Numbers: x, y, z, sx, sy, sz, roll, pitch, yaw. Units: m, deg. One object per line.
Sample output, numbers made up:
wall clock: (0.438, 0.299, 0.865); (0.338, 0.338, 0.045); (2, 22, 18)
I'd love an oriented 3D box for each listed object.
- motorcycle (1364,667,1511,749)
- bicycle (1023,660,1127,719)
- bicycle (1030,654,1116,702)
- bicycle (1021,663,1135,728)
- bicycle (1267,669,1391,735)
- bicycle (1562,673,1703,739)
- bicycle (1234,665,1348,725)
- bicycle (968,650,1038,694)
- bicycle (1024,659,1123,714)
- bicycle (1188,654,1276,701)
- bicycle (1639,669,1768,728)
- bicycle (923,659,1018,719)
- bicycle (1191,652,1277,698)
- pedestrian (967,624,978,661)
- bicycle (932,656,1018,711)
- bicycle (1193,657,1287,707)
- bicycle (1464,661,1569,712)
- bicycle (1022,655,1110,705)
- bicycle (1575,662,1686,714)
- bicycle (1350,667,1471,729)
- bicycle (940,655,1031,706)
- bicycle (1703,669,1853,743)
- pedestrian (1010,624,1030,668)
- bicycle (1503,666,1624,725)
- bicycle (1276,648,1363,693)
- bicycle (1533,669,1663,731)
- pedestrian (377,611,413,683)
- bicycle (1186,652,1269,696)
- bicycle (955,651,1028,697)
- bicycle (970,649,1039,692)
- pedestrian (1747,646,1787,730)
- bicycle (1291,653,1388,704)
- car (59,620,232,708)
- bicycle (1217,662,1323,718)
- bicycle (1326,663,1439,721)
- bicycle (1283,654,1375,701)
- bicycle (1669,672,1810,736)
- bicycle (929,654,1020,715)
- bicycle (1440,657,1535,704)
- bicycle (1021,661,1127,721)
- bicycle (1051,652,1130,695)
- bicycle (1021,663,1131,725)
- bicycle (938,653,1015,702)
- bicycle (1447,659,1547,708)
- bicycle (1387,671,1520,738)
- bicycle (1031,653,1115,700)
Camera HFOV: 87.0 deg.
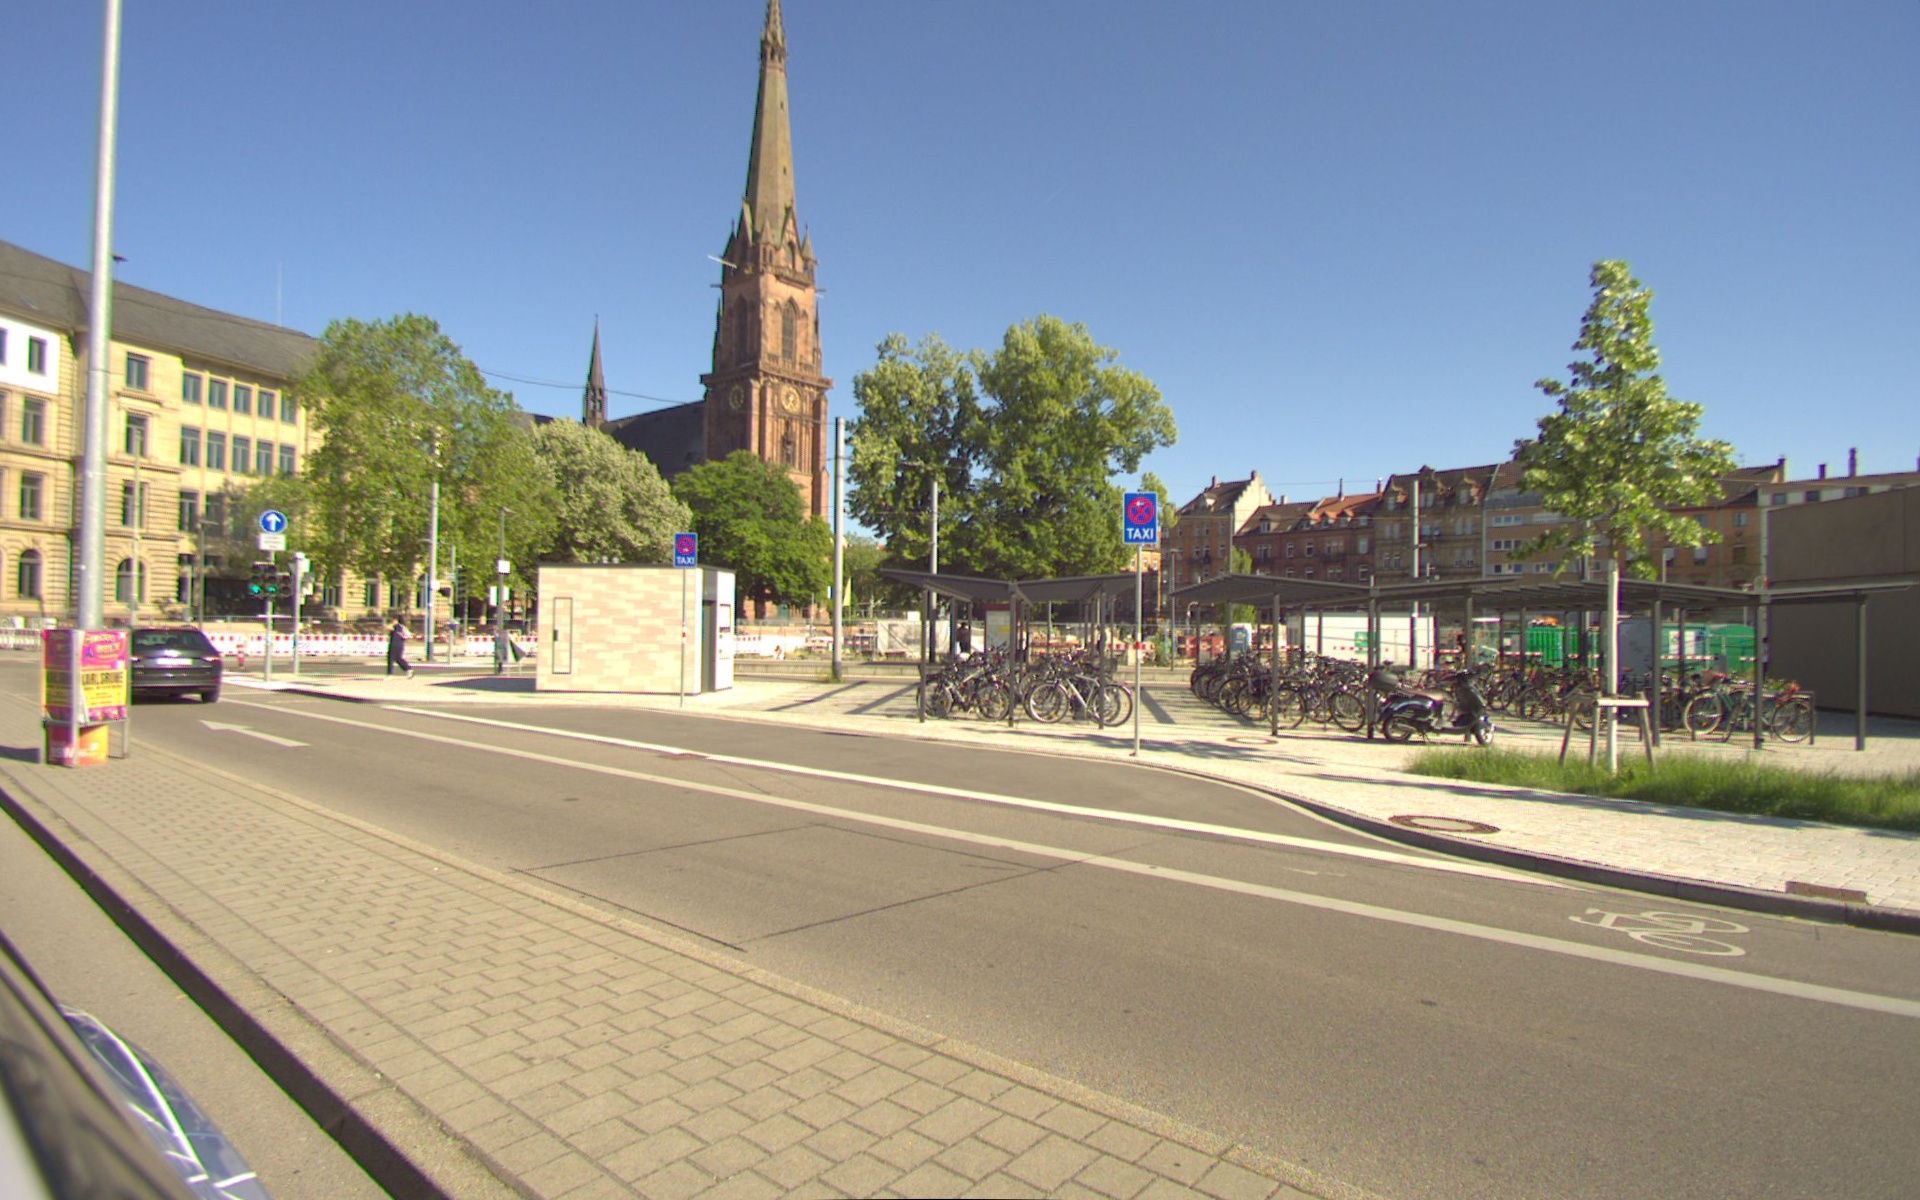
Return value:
motorcycle: (7.158, 1.604, 15.229); (1.924, 1.160, 0.516); (0, -2, 6)
bicycle: (2.133, 1.646, 18.747); (1.882, 1.016, 0.456); (0, -2, 8)
bicycle: (2.507, 1.728, 22.537); (1.882, 1.016, 0.456); (0, -2, 8)
bicycle: (1.986, 1.603, 17.117); (1.882, 1.016, 0.456); (0, -2, 8)
bicycle: (6.117, 1.683, 16.843); (1.882, 1.016, 0.456); (0, -2, 8)
bicycle: (10.969, 1.719, 16.540); (1.882, 1.016, 0.456); (0, -2, 8)
bicycle: (5.896, 1.685, 18.096); (1.882, 1.016, 0.456); (0, -2, 8)
bicycle: (1.038, 1.716, 24.229); (1.652, 1.016, 0.456); (0, -2, 8)
bicycle: (2.193, 1.660, 19.588); (1.882, 1.016, 0.456); (0, -2, 8)
bicycle: (6.145, 1.739, 22.946); (1.882, 1.016, 0.456); (0, -2, 8)
bicycle: (13.465, 1.778, 18.368); (1.882, 1.016, 0.456); (0, -2, 8)
bicycle: (0.197, 1.586, 18.194); (1.652, 1.016, 0.456); (0, -2, 8)
bicycle: (6.362, 1.733, 23.570); (1.882, 1.016, 0.456); (0, -2, 8)
pedestrian: (0.581, 1.995, 47.619); (0.399, 1.734, 0.419); (1, -2, -11)
bicycle: (0.301, 1.631, 19.891); (1.652, 1.016, 0.456); (0, -2, 8)
bicycle: (5.961, 1.748, 21.612); (1.882, 1.016, 0.456); (0, -2, 8)
bicycle: (11.710, 1.816, 21.316); (1.882, 1.016, 0.456); (0, -2, 8)
bicycle: (2.293, 1.723, 21.924); (1.882, 1.016, 0.456); (0, -2, 8)
bicycle: (13.869, 1.820, 20.974); (1.882, 1.016, 0.456); (0, -2, 8)
bicycle: (7.890, 1.710, 17.766); (1.882, 1.016, 0.456); (0, -2, 8)
bicycle: (0.539, 1.676, 21.229); (1.882, 1.016, 0.456); (0, -2, 8)
bicycle: (13.078, 1.687, 16.209); (1.882, 1.106, 0.456); (0, -2, 8)
pedestrian: (2.472, 1.897, 41.704); (0.792, 1.793, 0.977); (0, -2, 3)
bicycle: (11.160, 1.758, 18.761); (1.882, 1.016, 0.456); (0, -2, 8)
bicycle: (8.482, 1.654, 23.913); (1.882, 1.016, 0.456); (0, -2, 8)
bicycle: (11.097, 1.734, 17.645); (1.882, 1.016, 0.456); (0, -2, 8)
pedestrian: (-14.886, 1.221, 26.671); (0.683, 1.868, 0.680); (2, -2, -38)
bicycle: (6.389, 1.764, 24.229); (1.882, 1.016, 0.456); (0, -2, 8)
bicycle: (0.742, 1.711, 23.485); (1.652, 1.016, 0.456); (0, -2, 8)
bicycle: (1.103, 1.730, 24.945); (1.652, 1.016, 0.456); (0, -2, 8)
pedestrian: (19.979, 2.160, 25.057); (0.718, 2.029, 0.678); (-1, -3, 41)
bicycle: (8.053, 1.662, 21.523); (1.882, 1.016, 0.456); (0, -2, 8)
car: (-15.850, 1.179, 19.605); (4.573, 1.511, 1.770); (-1, -4, 41)
bicycle: (5.894, 1.710, 19.326); (1.882, 1.016, 0.456); (0, -2, 8)
bicycle: (7.914, 1.714, 18.999); (1.882, 1.016, 0.456); (0, -2, 8)
bicycle: (8.312, 1.737, 22.821); (1.882, 1.016, 0.456); (0, -2, 8)
bicycle: (13.125, 1.745, 17.069); (1.882, 1.016, 0.456); (0, -2, 8)
bicycle: (0.276, 1.560, 18.780); (1.652, 1.069, 0.456); (0, -2, 8)
bicycle: (12.075, 1.838, 23.198); (1.882, 1.016, 0.456); (0, -2, 8)
bicycle: (2.051, 1.634, 18.264); (1.882, 1.016, 0.456); (0, -2, 8)
bicycle: (3.158, 1.778, 24.602); (1.882, 1.016, 0.456); (0, -2, 8)
bicycle: (2.015, 1.625, 17.677); (1.882, 1.016, 0.456); (0, -2, 8)
bicycle: (0.367, 1.692, 22.227); (1.652, 1.016, 0.456); (0, -2, 8)
bicycle: (11.780, 1.826, 22.247); (1.882, 1.016, 0.456); (0, -2, 8)
bicycle: (8.024, 1.693, 16.497); (1.882, 1.016, 0.456); (0, -2, 8)
bicycle: (2.602, 1.749, 23.307); (1.882, 1.016, 0.456); (0, -2, 8)
